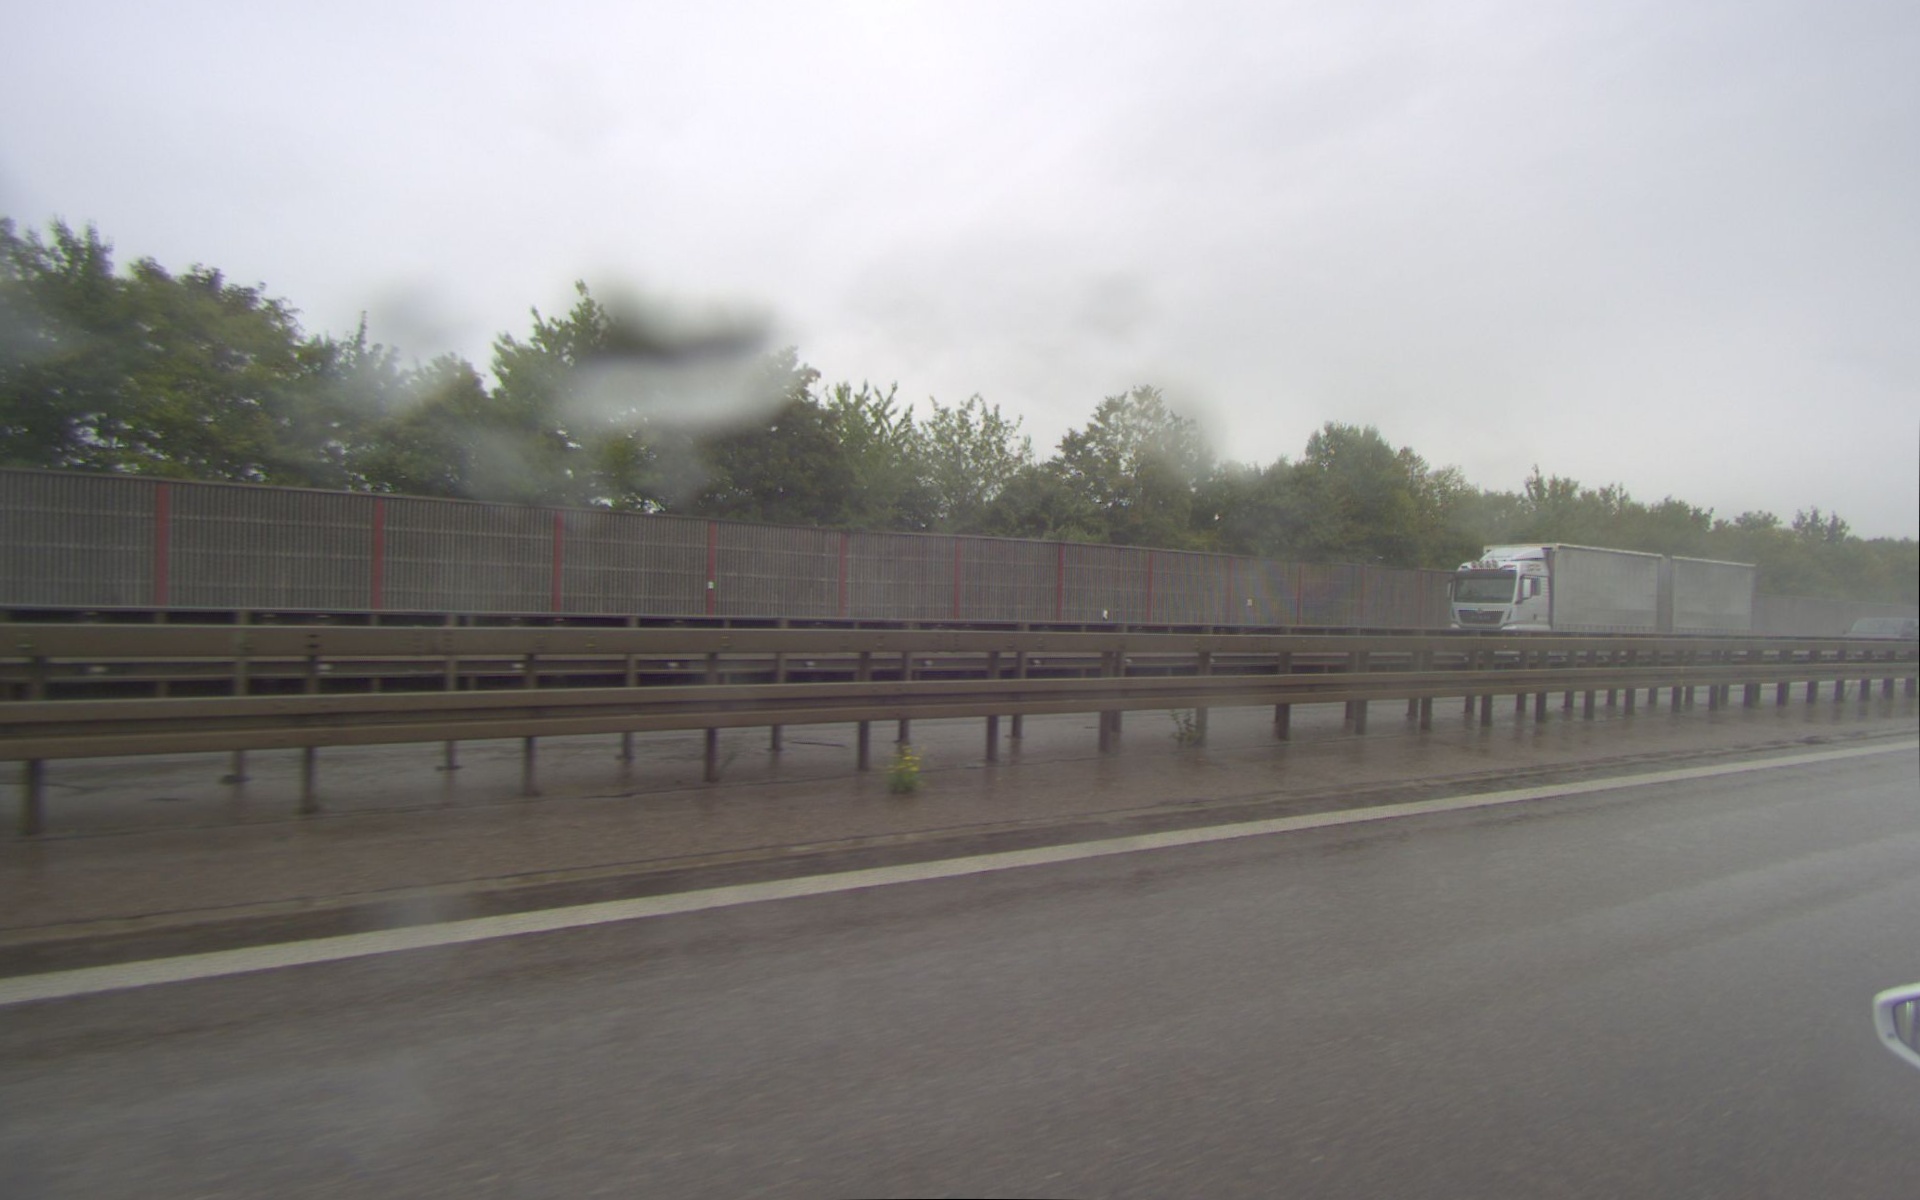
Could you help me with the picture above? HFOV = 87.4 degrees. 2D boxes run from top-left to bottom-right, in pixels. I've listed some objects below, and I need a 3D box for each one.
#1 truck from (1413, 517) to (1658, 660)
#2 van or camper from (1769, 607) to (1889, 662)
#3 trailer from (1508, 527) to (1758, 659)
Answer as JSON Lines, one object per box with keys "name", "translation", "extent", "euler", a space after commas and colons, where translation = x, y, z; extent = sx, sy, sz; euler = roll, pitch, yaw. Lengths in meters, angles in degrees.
{"name": "truck", "translation": [21.292, -0.290, 36.982], "extent": [9.388, 4.701, 3.815], "euler": [1, 0, -32]}
{"name": "van or camper", "translation": [34.692, 1.396, 40.055], "extent": [5.606, 2.040, 1.983], "euler": [2, 0, -31]}
{"name": "trailer", "translation": [27.683, -0.144, 41.031], "extent": [12.108, 4.758, 3.848], "euler": [2, 0, -32]}
